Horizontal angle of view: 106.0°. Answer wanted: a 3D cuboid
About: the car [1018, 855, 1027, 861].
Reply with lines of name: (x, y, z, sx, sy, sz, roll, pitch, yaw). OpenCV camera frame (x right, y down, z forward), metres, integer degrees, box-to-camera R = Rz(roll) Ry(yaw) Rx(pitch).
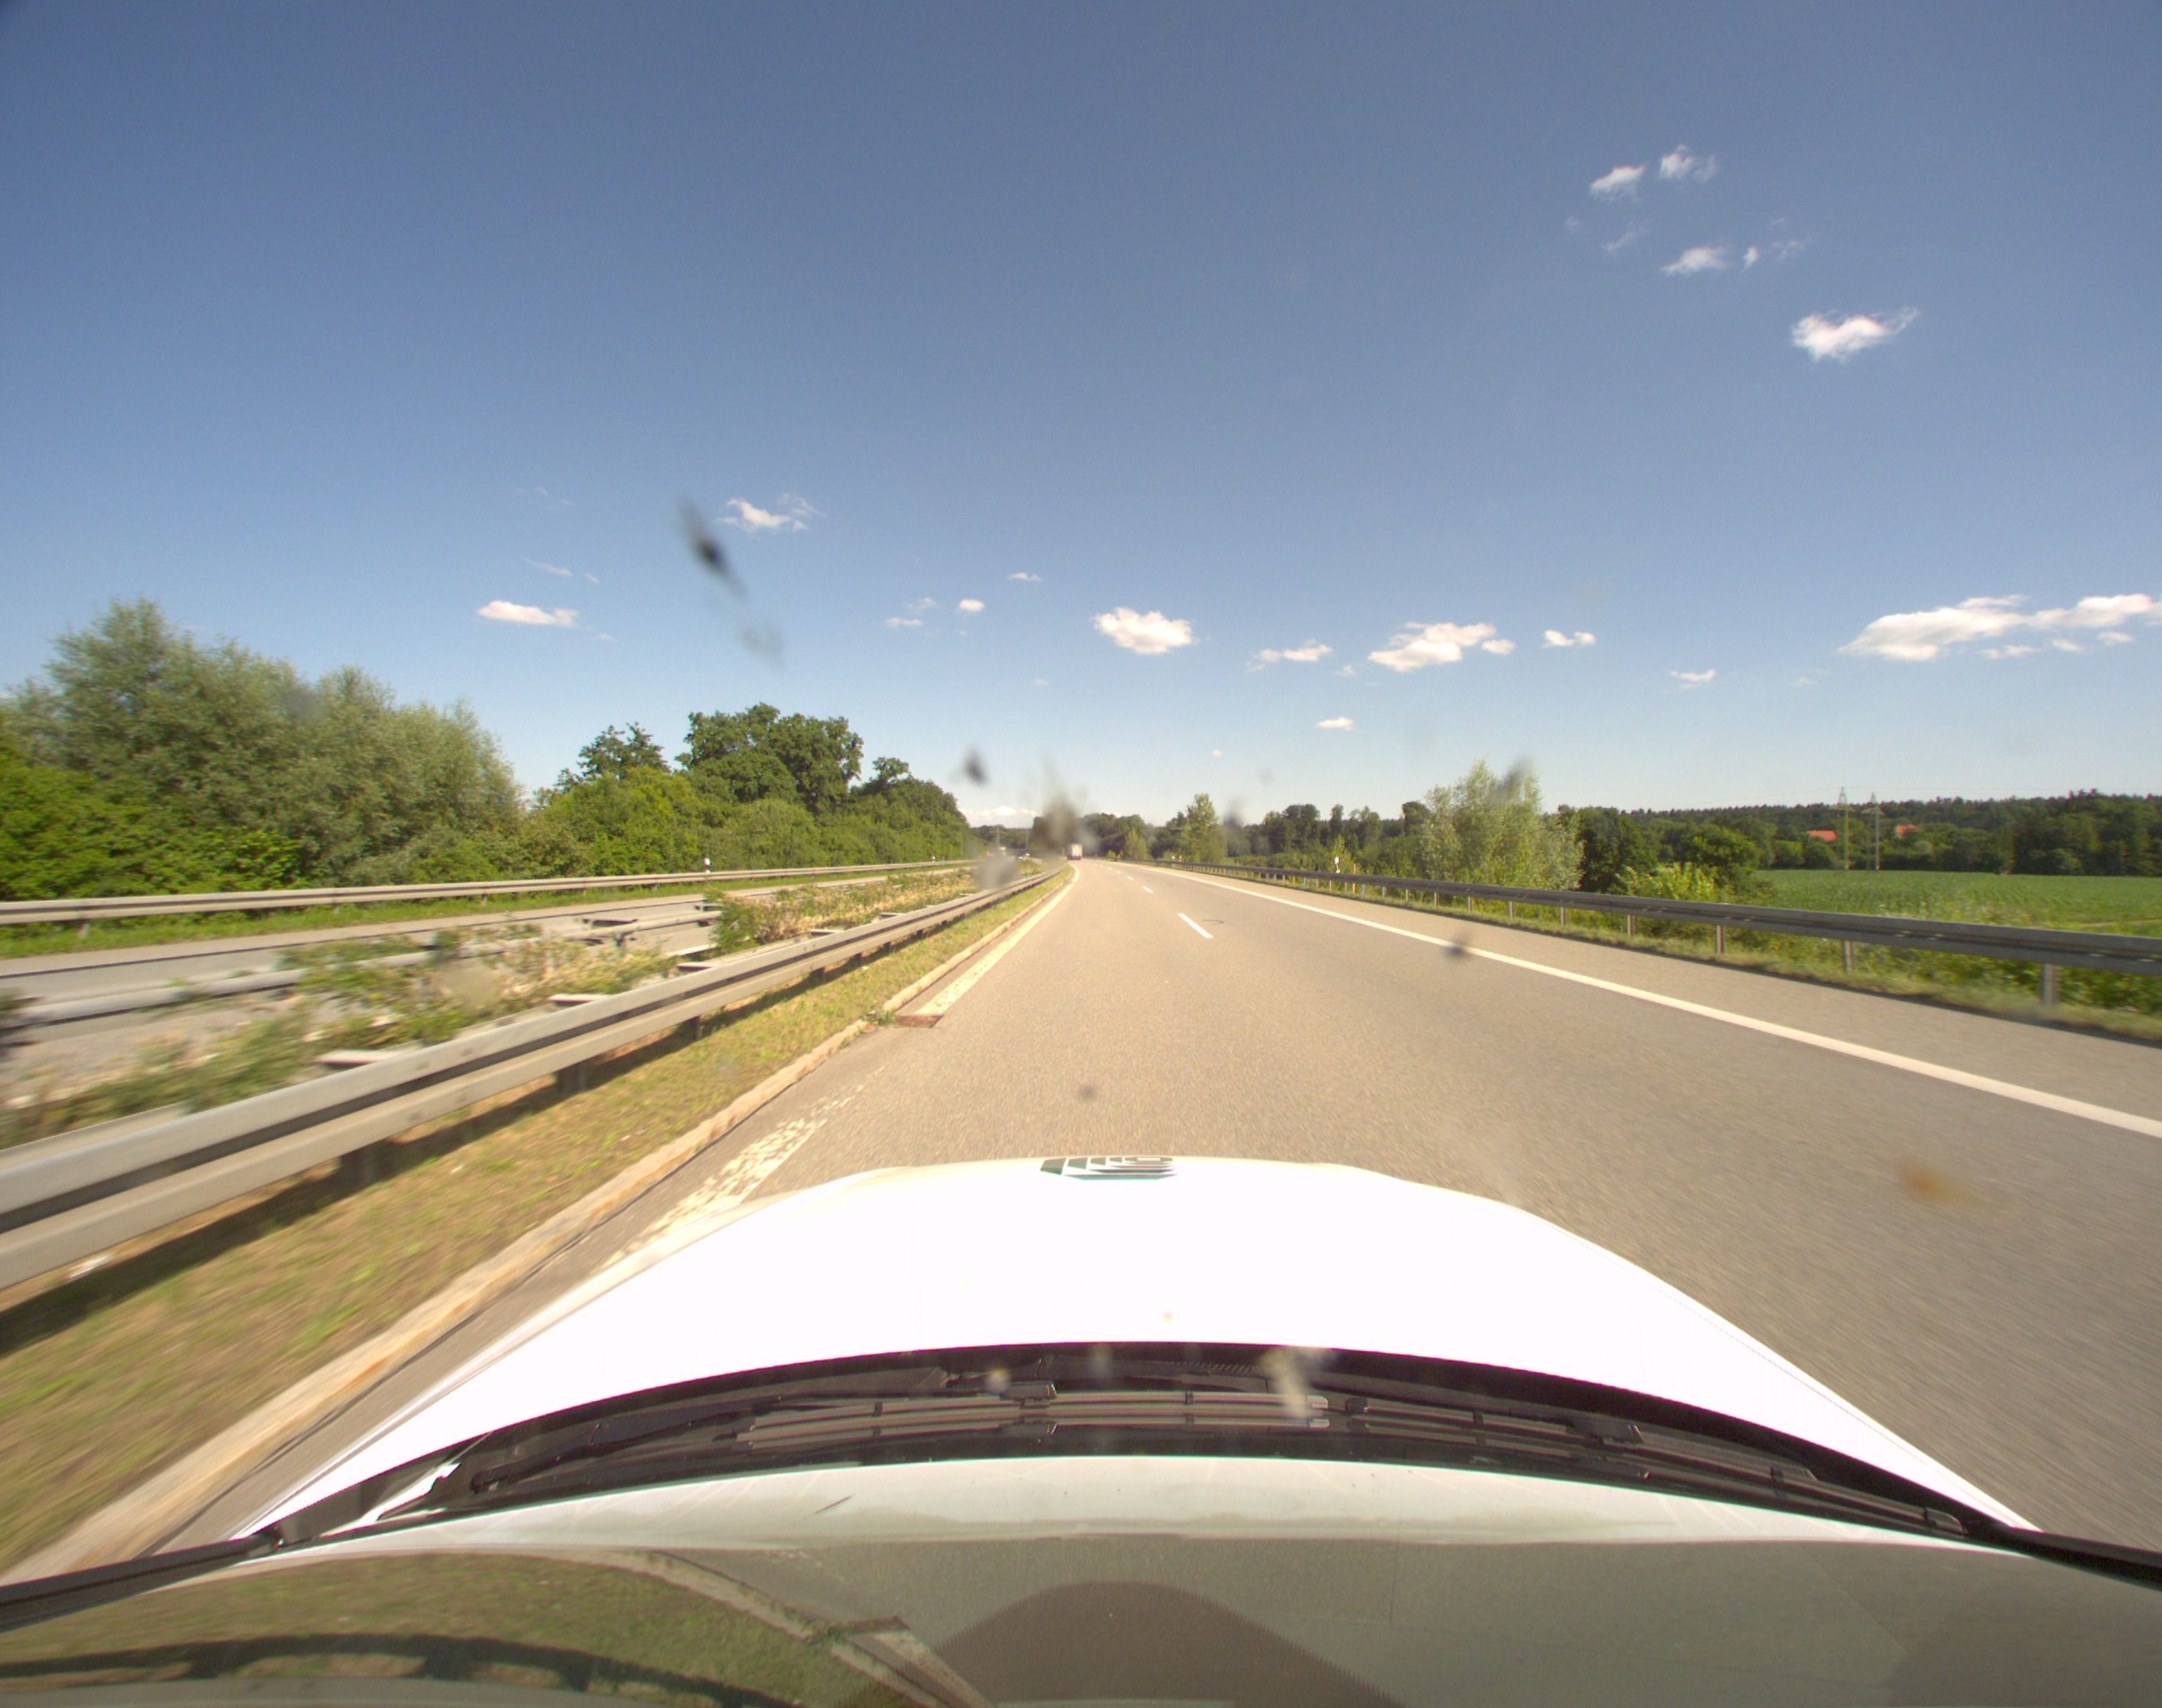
car: (-14.643, 1.093, 203.530, 1.991, 1.432, 4.477, -1, 0, -6)

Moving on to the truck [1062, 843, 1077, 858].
truck: (-3.147, -0.904, 215.357, 2.831, 4.012, 6.564, -1, 0, -10)

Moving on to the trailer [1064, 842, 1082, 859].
trailer: (-2.112, -0.846, 209.108, 2.884, 4.066, 12.381, -1, 0, -9)
